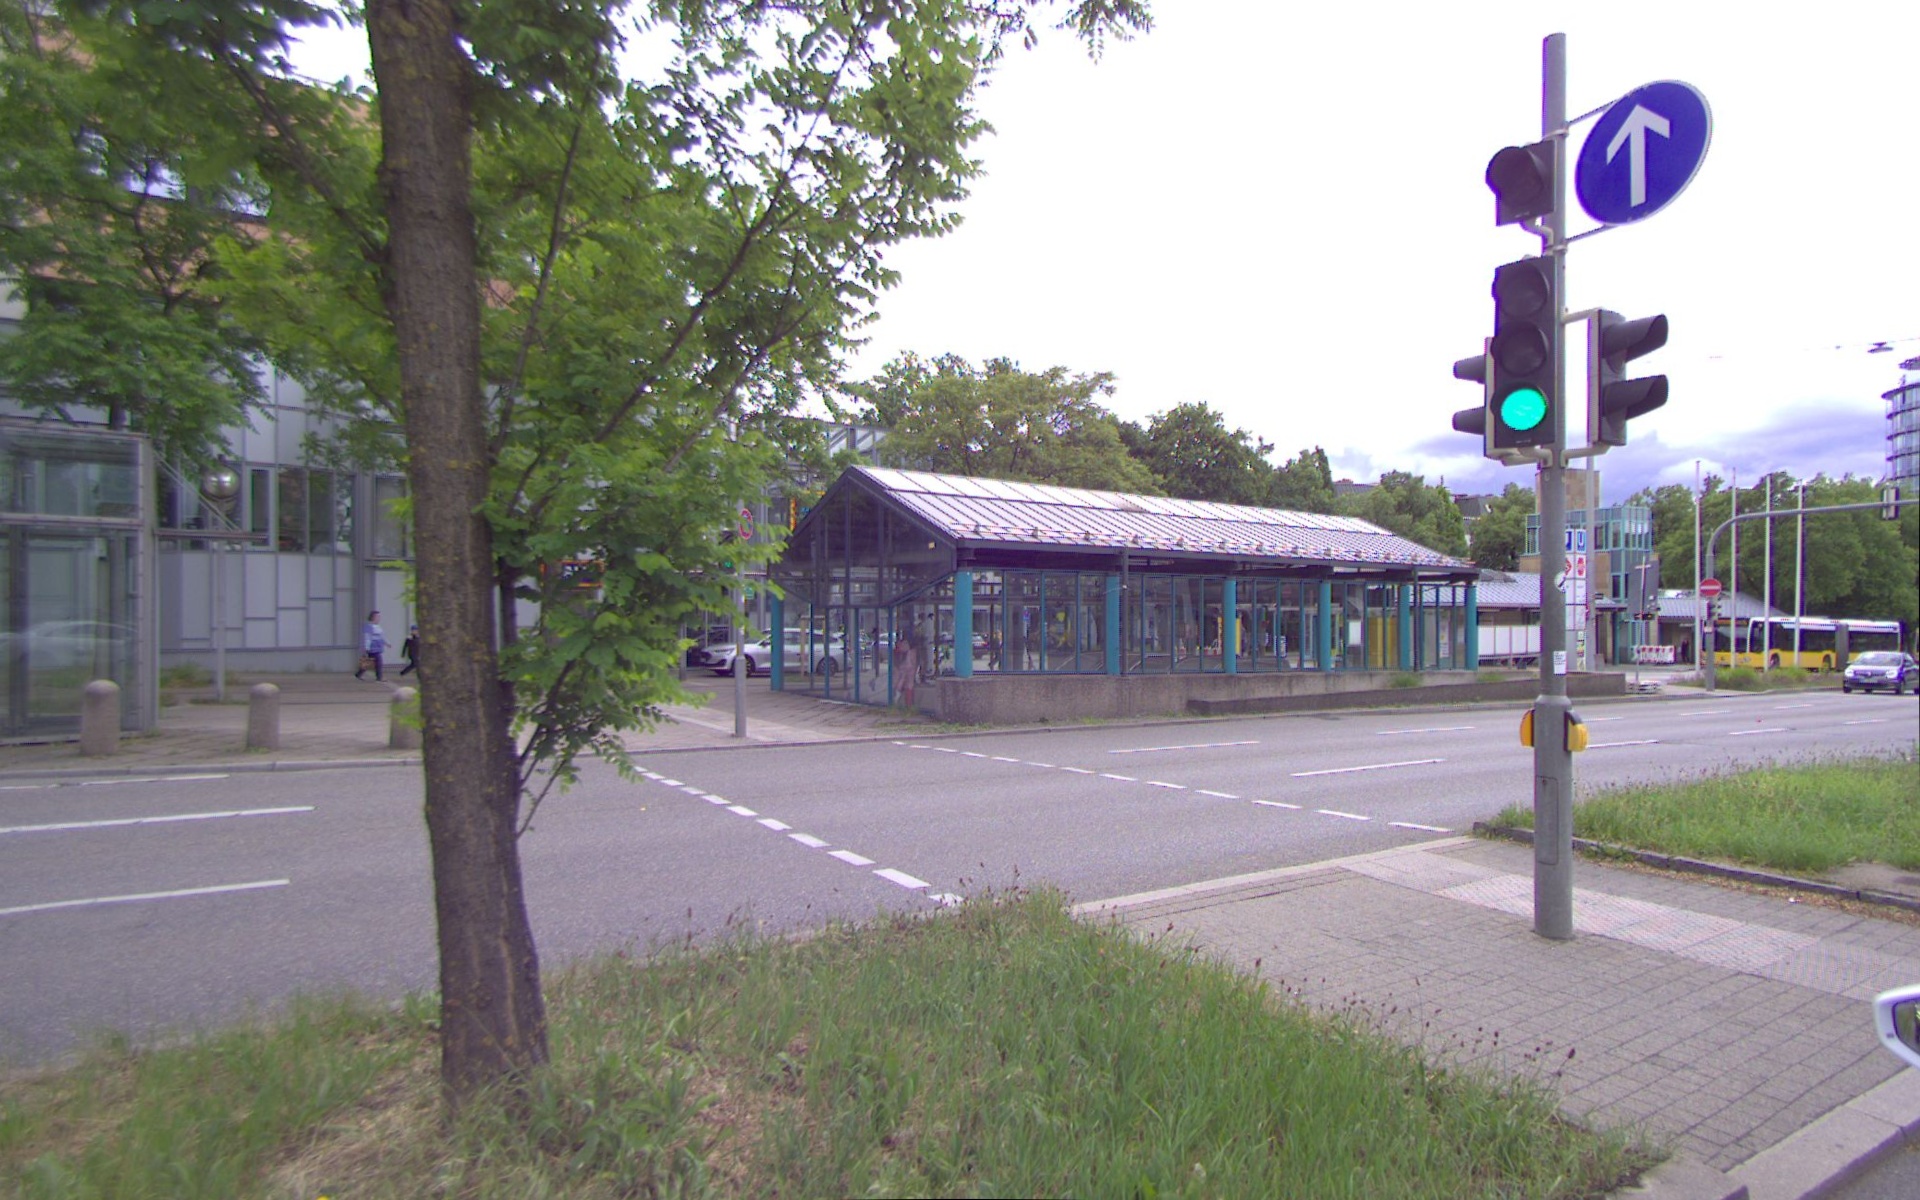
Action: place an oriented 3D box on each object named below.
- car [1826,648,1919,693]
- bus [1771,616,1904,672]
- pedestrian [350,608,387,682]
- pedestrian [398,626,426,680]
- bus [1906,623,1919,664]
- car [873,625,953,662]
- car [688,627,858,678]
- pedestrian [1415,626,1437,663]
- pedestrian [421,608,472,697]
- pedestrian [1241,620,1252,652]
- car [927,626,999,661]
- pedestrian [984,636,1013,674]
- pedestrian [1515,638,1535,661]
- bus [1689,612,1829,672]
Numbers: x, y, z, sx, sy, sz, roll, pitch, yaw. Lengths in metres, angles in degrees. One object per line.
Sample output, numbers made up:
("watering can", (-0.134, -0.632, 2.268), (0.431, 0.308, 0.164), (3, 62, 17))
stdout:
("car", (34.063, 2.605, 37.226), (3.954, 1.528, 1.806), (3, -2, -30))
("bus", (53.999, 2.710, 61.749), (9.178, 3.174, 2.799), (2, 1, -27))
("pedestrian", (-12.951, 0.980, 21.985), (0.631, 1.567, 0.682), (2, -2, -32))
("pedestrian", (-12.412, 1.198, 22.736), (0.508, 1.208, 0.380), (2, -2, -30))
("bus", (80.737, 3.644, 81.793), (10.626, 3.205, 3.064), (2, 0, -34))
("car", (-2.299, 2.078, 48.410), (1.981, 1.617, 3.959), (2, -1, -36))
("car", (-5.516, 1.561, 29.805), (4.666, 1.418, 1.681), (2, -2, -30))
("pedestrian", (21.207, 2.014, 45.709), (0.650, 1.671, 0.616), (2, -2, -30))
("pedestrian", (-10.101, 1.020, 19.755), (0.817, 1.702, 0.773), (2, -2, -30))
("pedestrian", (14.028, 1.763, 49.183), (0.475, 1.568, 0.384), (1, -1, 14))
("car", (0.119, 2.385, 55.820), (1.981, 1.706, 3.958), (2, 0, -37))
("pedestrian", (1.526, 2.178, 39.840), (0.981, 1.480, 0.587), (2, -1, -32))
("pedestrian", (28.117, 2.458, 49.955), (0.650, 1.135, 0.616), (2, -2, -30))
("bus", (45.805, 2.401, 57.484), (9.320, 3.174, 2.764), (2, 0, -28))
